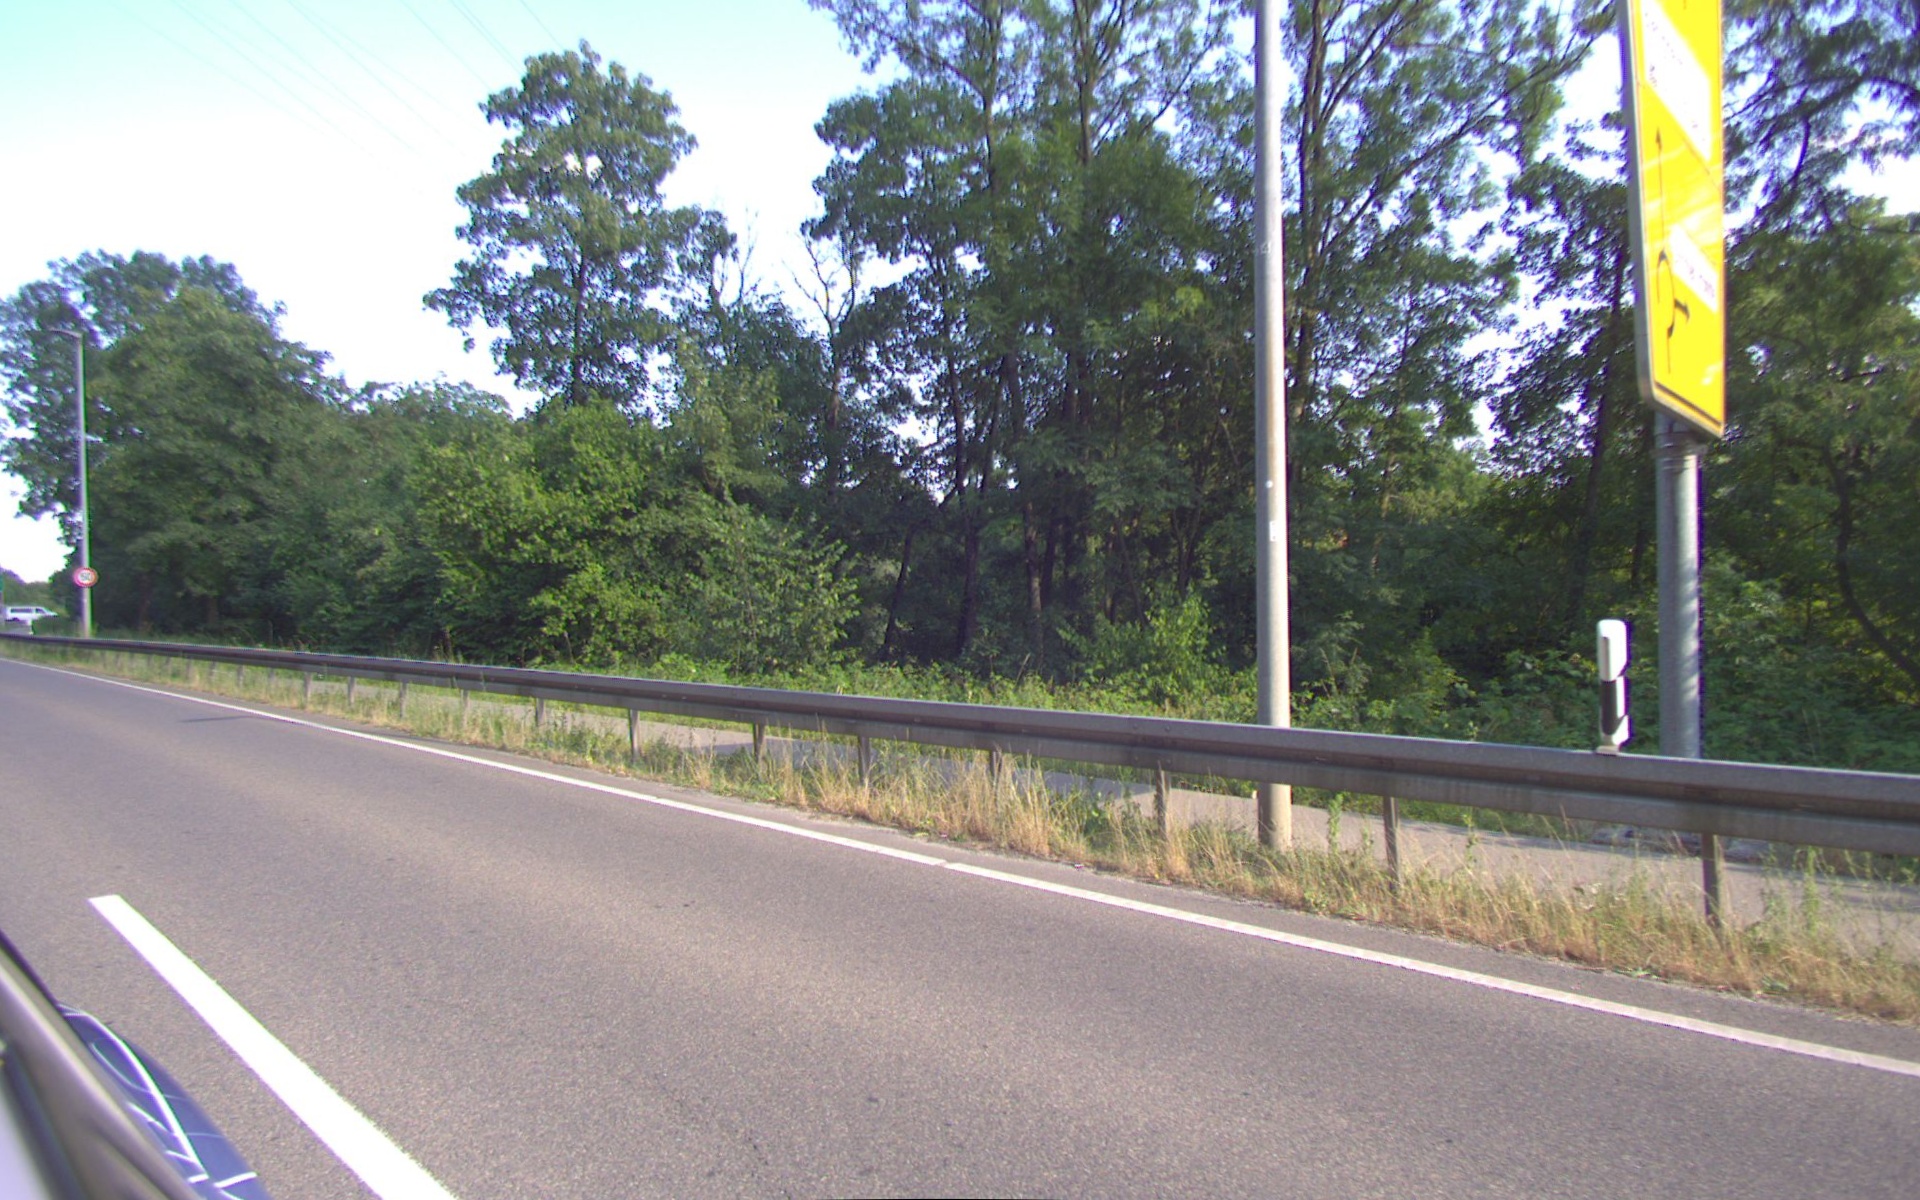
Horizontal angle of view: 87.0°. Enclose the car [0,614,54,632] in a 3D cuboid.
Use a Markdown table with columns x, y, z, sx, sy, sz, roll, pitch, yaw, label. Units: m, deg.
| x | y | z | sx | sy | sz | roll | pitch | yaw | label |
| --- | --- | --- | --- | --- | --- | --- | --- | --- | --- |
| -109.150 | 2.640 | 118.277 | 4.449 | 2.029 | 2.006 | 0 | -1 | -30 | car |
